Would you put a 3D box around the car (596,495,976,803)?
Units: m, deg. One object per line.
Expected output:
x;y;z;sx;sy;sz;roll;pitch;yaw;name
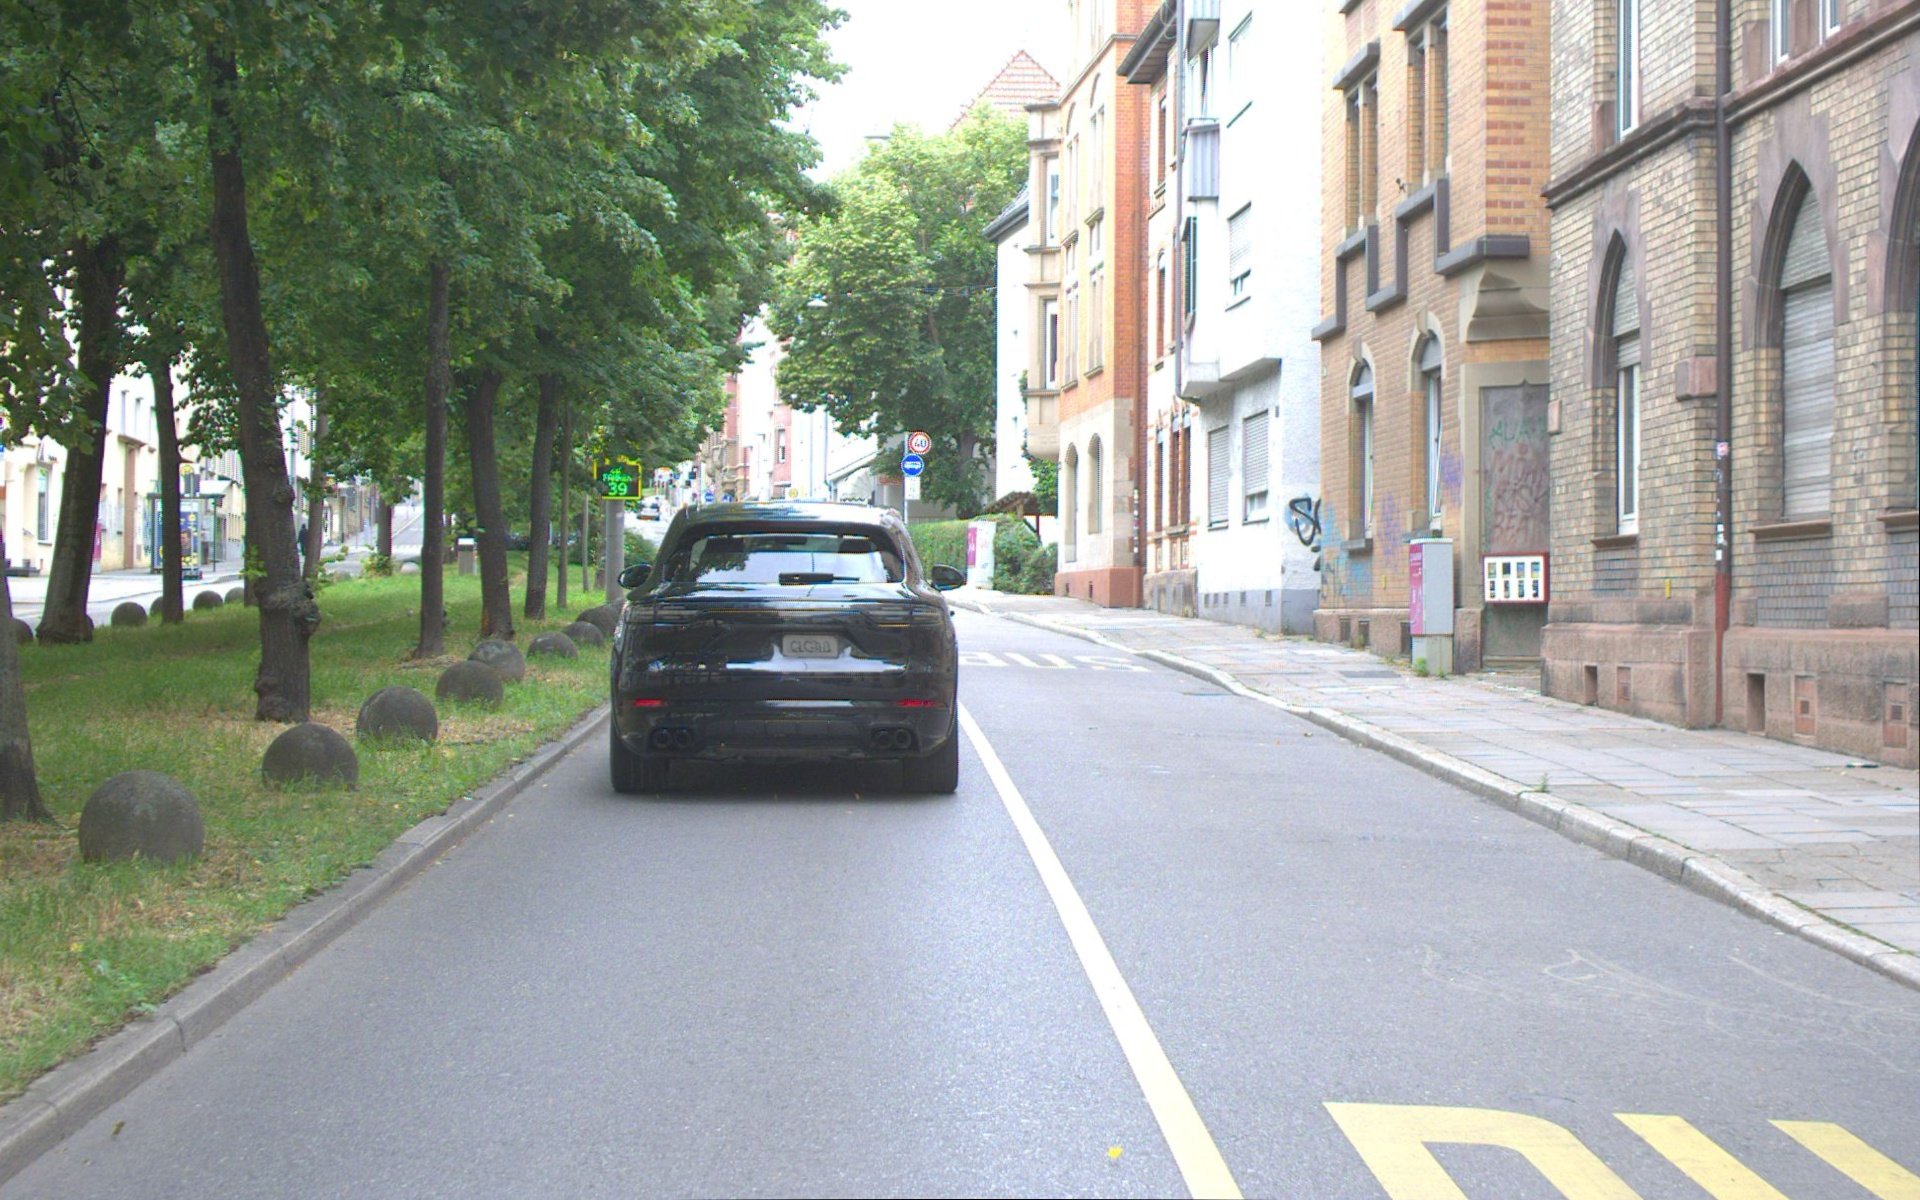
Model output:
-1.152;0.246;20.667;1.903;1.660;4.136;1;1;-8;car

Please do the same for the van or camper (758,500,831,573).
-6.643;-2.506;137.020;2.479;2.793;7.239;1;1;-6;van or camper
